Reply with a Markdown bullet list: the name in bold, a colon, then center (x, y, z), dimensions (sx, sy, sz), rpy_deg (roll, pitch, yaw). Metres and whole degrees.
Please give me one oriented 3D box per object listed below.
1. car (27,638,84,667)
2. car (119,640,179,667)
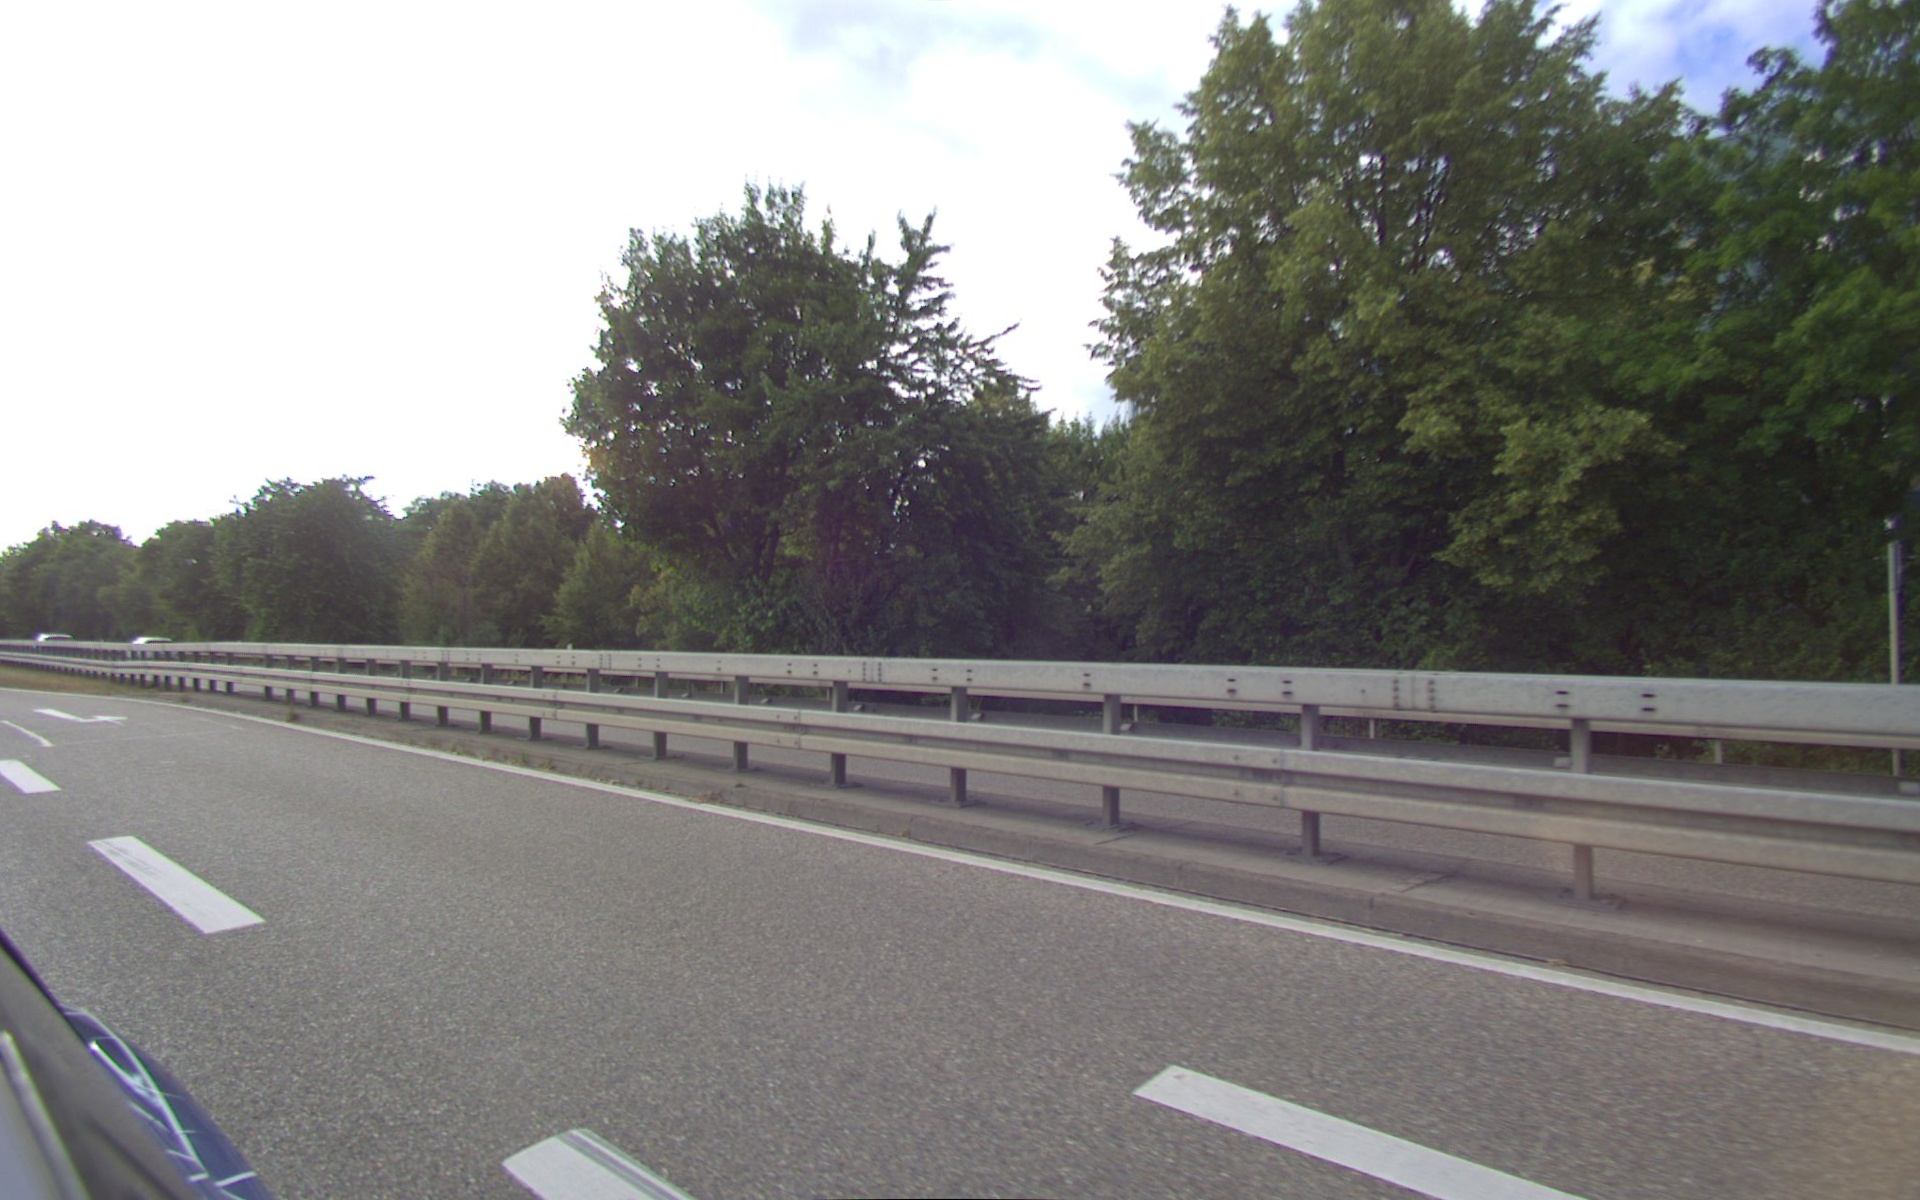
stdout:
- **car**: center (-48.237, 2.812, 53.971), dimensions (3.709, 1.479, 1.750), rpy_deg (-3, -3, 40)
- **car**: center (-44.247, 2.908, 55.155), dimensions (4.456, 1.424, 1.741), rpy_deg (-3, -3, 41)
